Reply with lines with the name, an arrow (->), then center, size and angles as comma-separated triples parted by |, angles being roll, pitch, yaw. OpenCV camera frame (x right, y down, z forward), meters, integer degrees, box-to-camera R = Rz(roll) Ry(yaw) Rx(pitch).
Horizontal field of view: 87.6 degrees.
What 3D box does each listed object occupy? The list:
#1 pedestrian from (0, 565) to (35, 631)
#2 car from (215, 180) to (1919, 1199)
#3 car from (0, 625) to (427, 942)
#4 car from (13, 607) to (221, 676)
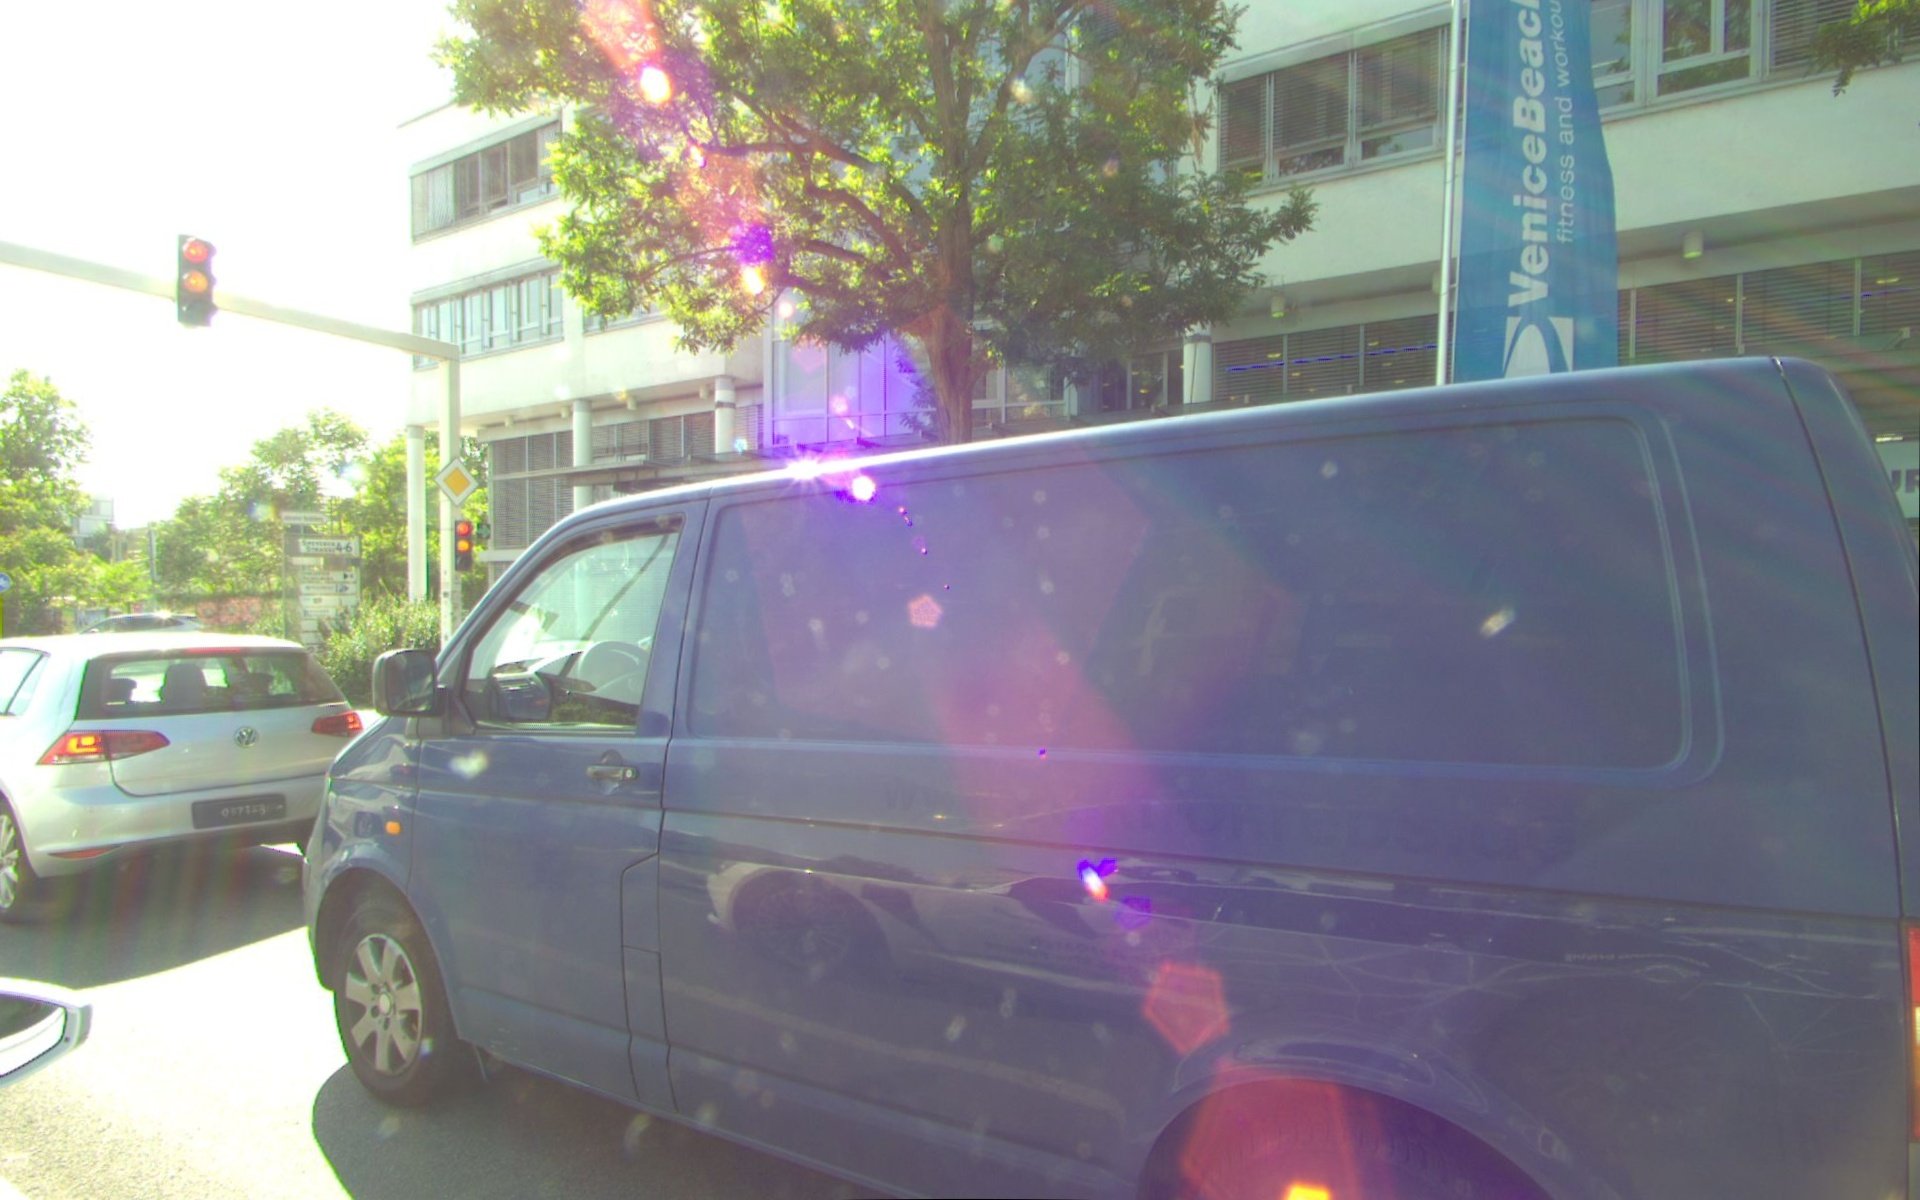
pedestrian -> -30.094, -0.054, 31.639 | 1.023, 2.040, 1.025 | 0, 0, 32
car -> -0.117, 0.539, 3.171 | 4.821, 1.973, 1.989 | -1, -1, 32
car -> -5.486, 0.920, 6.440 | 3.940, 1.448, 1.805 | -1, -1, 30
car -> -24.221, 1.130, 28.883 | 4.388, 1.572, 1.980 | -5, 3, -45
